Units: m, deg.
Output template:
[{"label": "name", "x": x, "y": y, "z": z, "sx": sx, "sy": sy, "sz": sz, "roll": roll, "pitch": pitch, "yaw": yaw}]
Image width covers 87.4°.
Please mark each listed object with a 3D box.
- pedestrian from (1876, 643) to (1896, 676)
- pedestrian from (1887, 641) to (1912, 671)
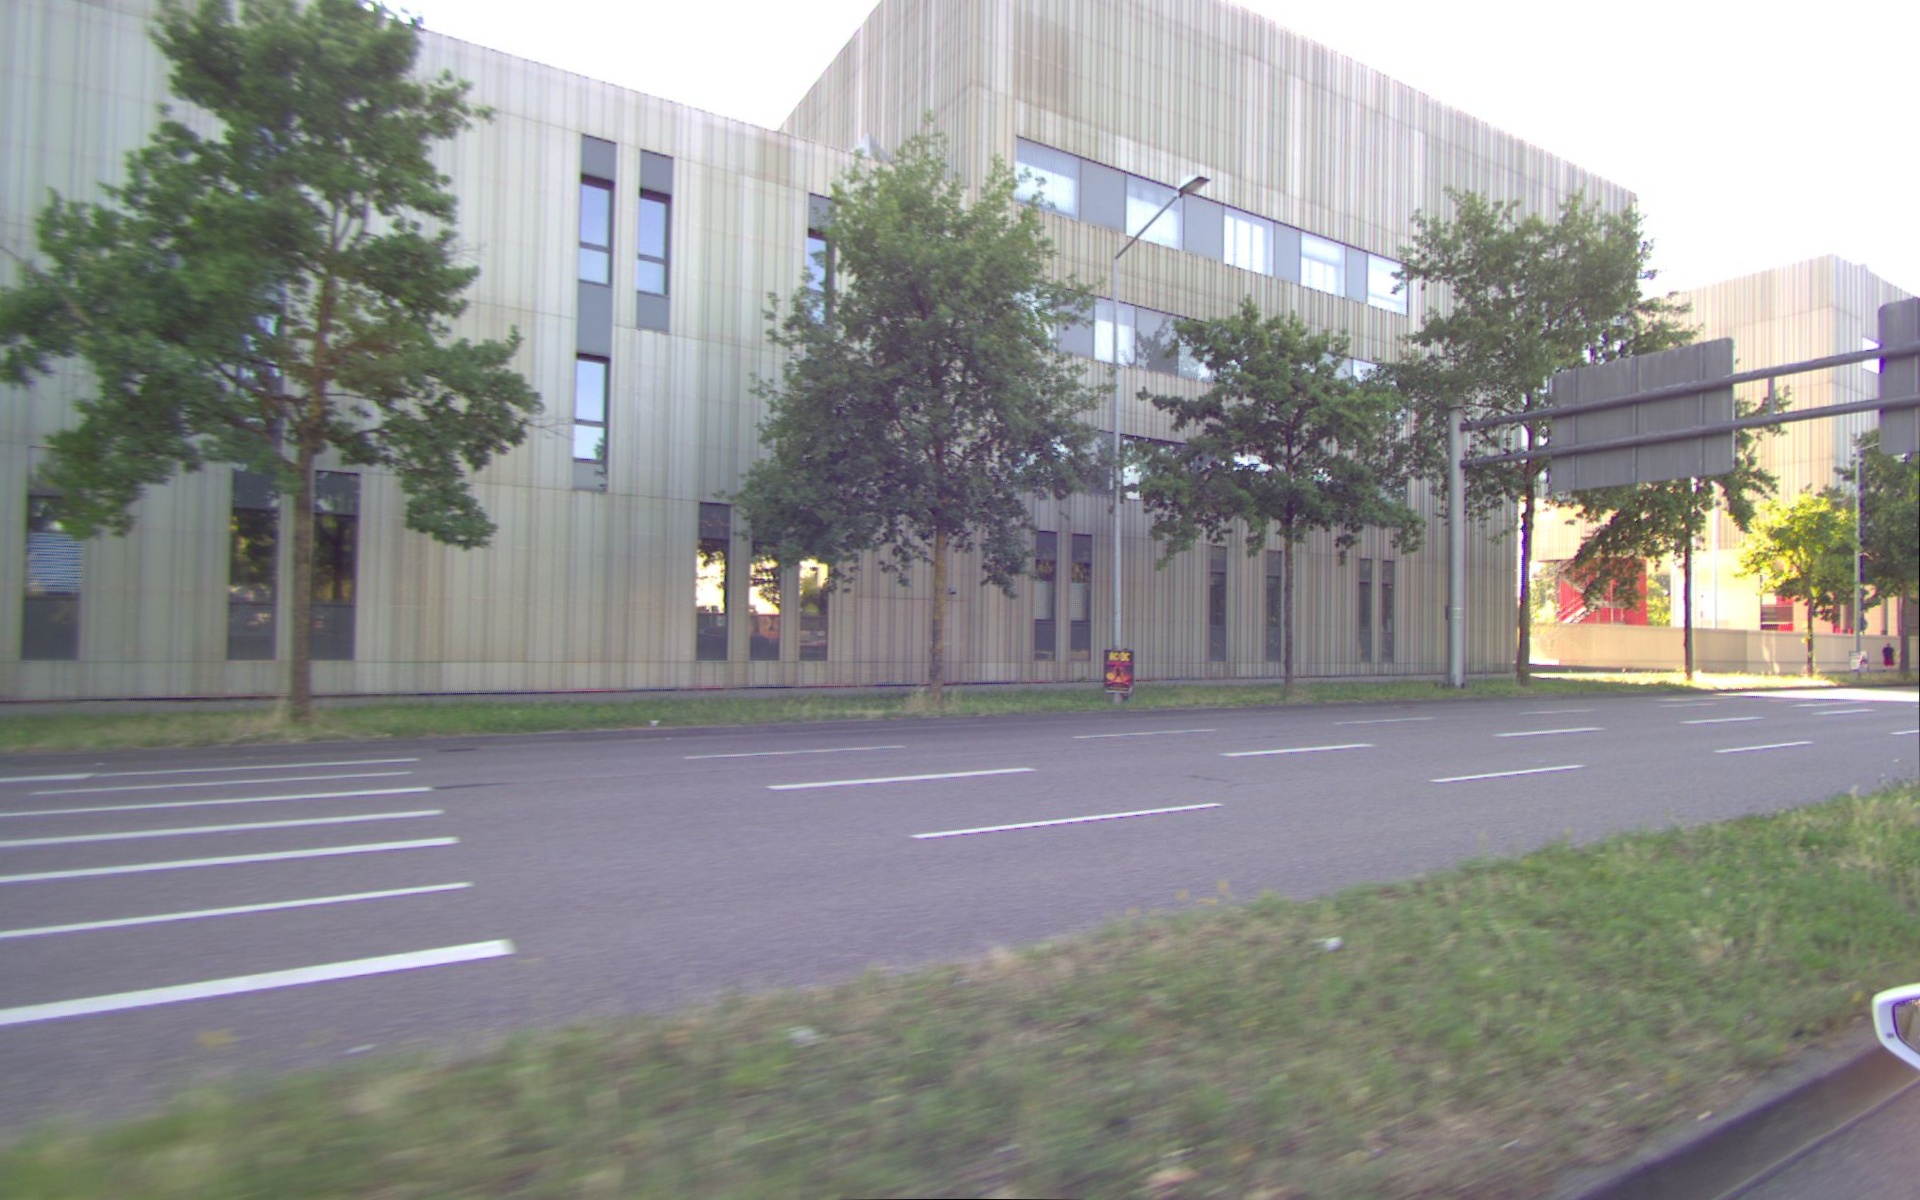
[{"label": "pedestrian", "x": 52.862, "y": 3.412, "z": 57.331, "sx": 0.708, "sy": 1.865, "sz": 0.630, "roll": 2, "pitch": -2, "yaw": -29}, {"label": "pedestrian", "x": 52.537, "y": 3.142, "z": 56.181, "sx": 0.898, "sy": 1.622, "sz": 0.772, "roll": 2, "pitch": -2, "yaw": -29}]
